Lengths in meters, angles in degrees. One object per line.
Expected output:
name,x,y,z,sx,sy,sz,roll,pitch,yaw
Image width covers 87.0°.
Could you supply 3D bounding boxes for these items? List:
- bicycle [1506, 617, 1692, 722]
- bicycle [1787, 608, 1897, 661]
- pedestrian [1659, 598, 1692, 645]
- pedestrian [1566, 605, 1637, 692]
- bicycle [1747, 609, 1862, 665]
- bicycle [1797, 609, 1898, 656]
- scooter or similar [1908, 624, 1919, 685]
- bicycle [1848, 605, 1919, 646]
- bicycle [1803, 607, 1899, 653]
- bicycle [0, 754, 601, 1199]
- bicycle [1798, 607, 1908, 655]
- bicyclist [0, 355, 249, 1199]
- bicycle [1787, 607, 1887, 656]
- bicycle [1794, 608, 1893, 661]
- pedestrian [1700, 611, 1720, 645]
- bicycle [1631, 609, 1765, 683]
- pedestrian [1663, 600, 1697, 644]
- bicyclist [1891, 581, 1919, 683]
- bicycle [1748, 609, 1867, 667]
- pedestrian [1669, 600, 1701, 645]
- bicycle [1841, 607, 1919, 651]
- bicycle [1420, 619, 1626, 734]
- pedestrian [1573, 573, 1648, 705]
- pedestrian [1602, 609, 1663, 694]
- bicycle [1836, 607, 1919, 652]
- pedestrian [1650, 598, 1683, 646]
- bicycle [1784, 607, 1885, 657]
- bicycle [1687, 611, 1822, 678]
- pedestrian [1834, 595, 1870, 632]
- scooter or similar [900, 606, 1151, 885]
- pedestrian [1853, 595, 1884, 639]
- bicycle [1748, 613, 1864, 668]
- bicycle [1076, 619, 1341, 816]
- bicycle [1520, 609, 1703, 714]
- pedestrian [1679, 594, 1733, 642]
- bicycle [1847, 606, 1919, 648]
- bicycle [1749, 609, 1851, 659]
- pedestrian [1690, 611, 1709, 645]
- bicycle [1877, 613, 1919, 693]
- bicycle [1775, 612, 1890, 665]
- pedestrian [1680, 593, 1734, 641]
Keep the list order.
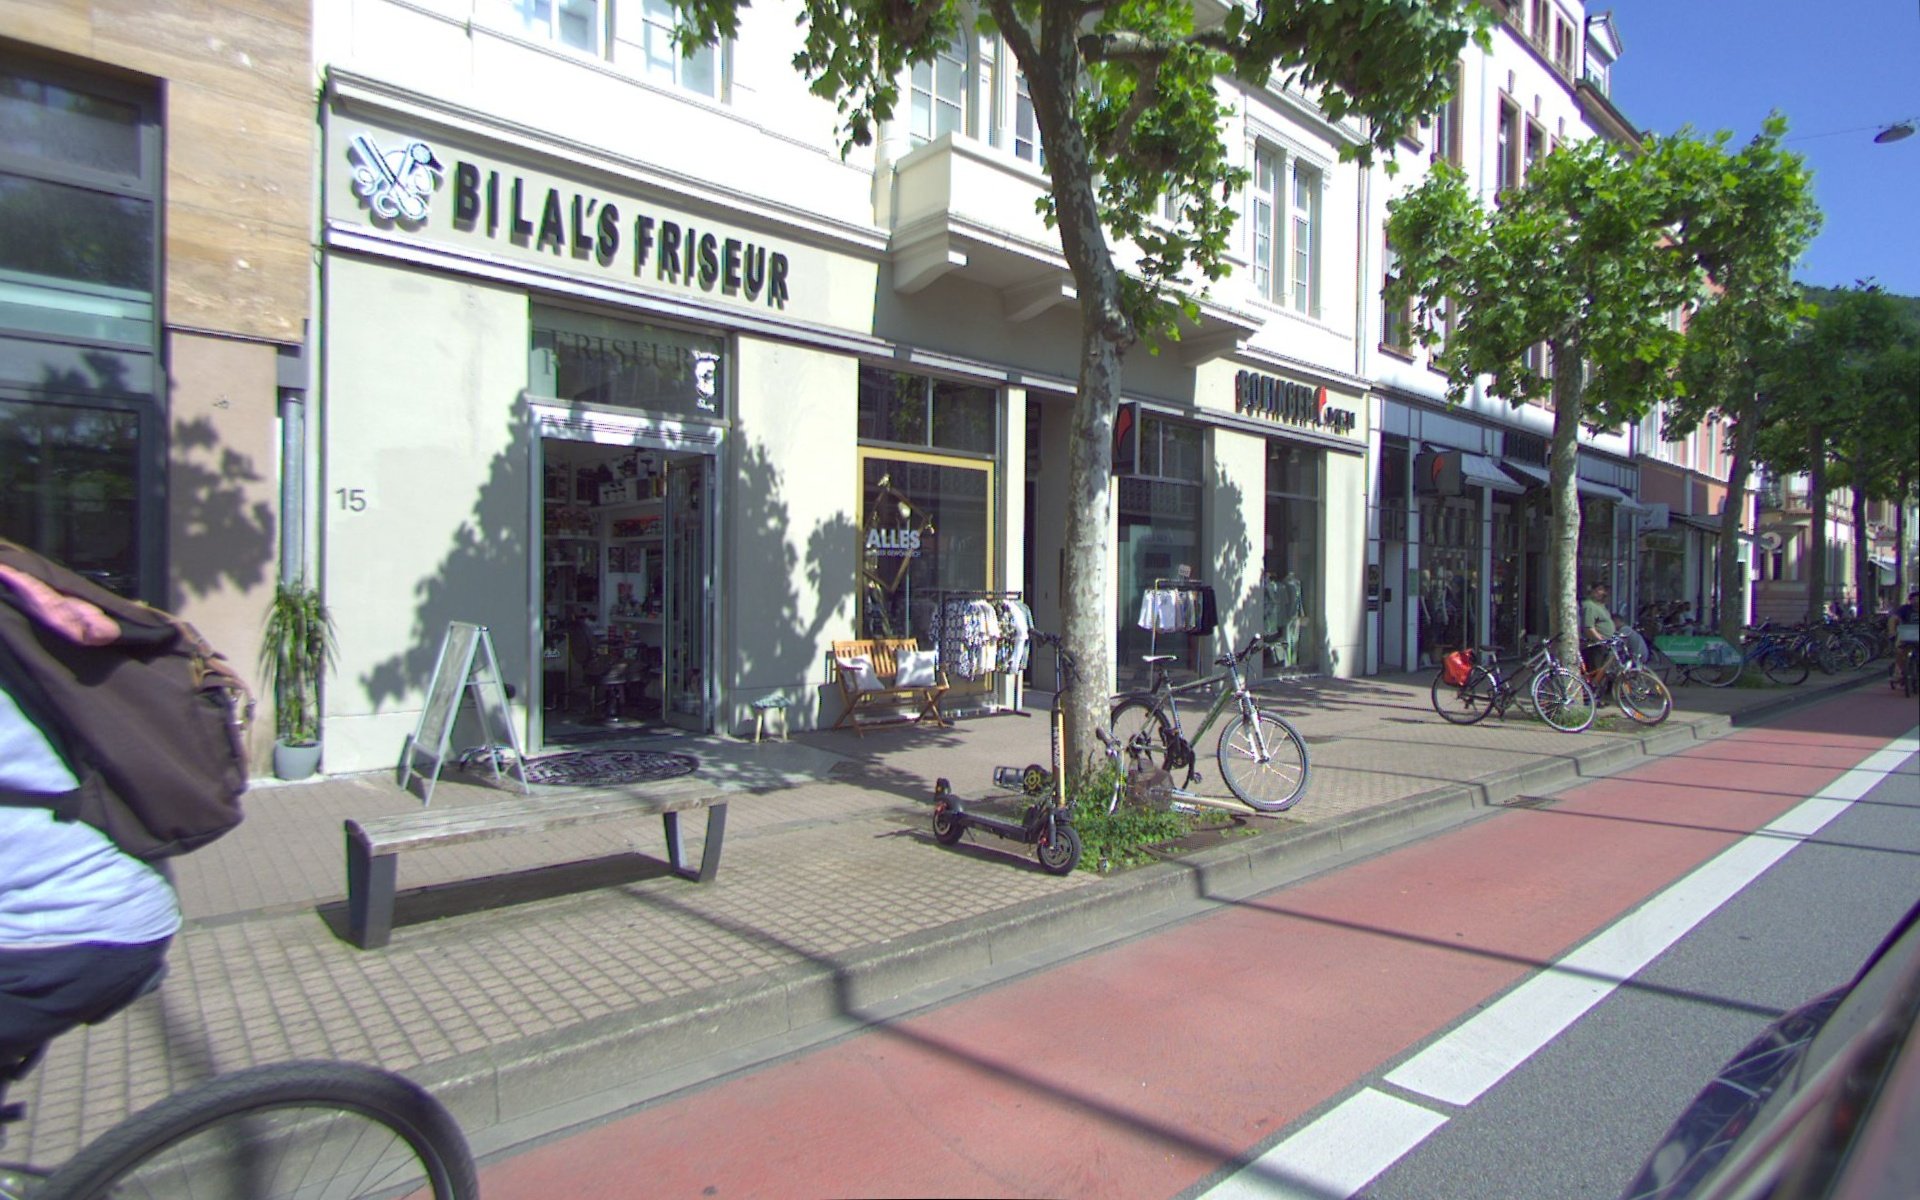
bicycle,7.565,0.777,12.074,0.487,1.141,1.848,0,-1,-29
bicycle,20.183,0.779,23.191,1.818,1.141,0.591,0,1,14
pedestrian,20.746,0.613,29.333,0.523,1.355,0.682,1,0,-43
pedestrian,9.700,0.711,15.307,0.566,1.258,0.788,-1,0,-43
bicycle,18.256,0.797,21.932,1.835,1.141,0.755,-2,0,37
bicycle,22.596,0.805,25.803,0.519,1.141,1.848,-1,-1,-28
scooter or similar,17.658,0.977,18.063,1.103,1.074,0.786,0,-1,-30
bicycle,27.937,0.754,30.380,0.654,1.141,1.844,-1,1,-38
bicycle,23.747,0.782,27.002,0.667,1.141,1.845,-1,1,-37
bicycle,-1.556,0.899,1.184,2.047,1.141,0.699,0,-1,-44
bicycle,23.132,0.779,26.255,0.746,1.141,1.995,-1,1,-28
bicyclist,-1.504,0.455,1.241,0.945,1.464,0.699,0,-1,-44
bicycle,21.940,0.768,25.362,0.440,1.141,1.845,-1,2,-37
bicycle,20.868,0.786,23.948,0.439,1.141,1.850,0,1,-13
pedestrian,21.885,0.819,29.537,0.429,0.980,0.365,1,0,-39
bicycle,12.637,0.774,17.381,1.760,1.212,0.573,0,0,23
pedestrian,21.130,0.638,29.707,0.523,1.269,0.682,1,1,-43
bicyclist,16.351,0.535,17.082,0.759,1.694,0.734,0,1,-32
bicycle,17.493,0.784,20.945,1.836,1.141,0.623,-2,-1,39
pedestrian,21.563,0.657,30.105,0.598,1.268,0.640,-1,3,-43
bicycle,25.659,0.791,28.003,0.654,1.141,1.844,-1,1,-38
bicycle,6.177,0.790,11.199,0.779,1.111,1.846,0,0,-35
pedestrian,8.757,0.519,13.626,0.829,1.711,0.639,2,-2,-43
pedestrian,10.326,0.773,15.538,0.587,1.248,0.639,-1,0,-43
bicycle,25.125,0.795,27.580,0.520,1.141,1.844,-1,2,-38
pedestrian,20.253,0.621,29.007,0.523,1.349,0.682,1,0,-43
bicycle,21.612,0.770,25.050,0.440,1.141,1.845,-1,2,-37
bicycle,14.175,0.792,18.090,1.838,1.141,0.490,-2,-3,42
pedestrian,41.093,0.621,46.658,0.892,1.631,0.970,1,4,21
scooter or similar,0.295,0.688,5.532,0.656,1.291,1.481,0,-1,-29
pedestrian,35.354,0.667,39.392,0.773,1.679,0.642,3,-2,-27
bicycle,17.797,0.844,21.344,1.837,1.107,0.556,-1,-1,40
bicycle,1.692,0.745,7.209,0.657,1.201,1.845,0,-1,-35
bicycle,8.247,0.731,12.891,0.660,1.212,1.846,0,0,-33
pedestrian,23.200,0.548,31.487,0.777,1.440,1.234,-1,2,-43
bicycle,26.965,0.773,29.288,0.632,1.141,1.844,-1,1,-38
bicycle,19.741,0.794,23.799,1.818,1.141,0.446,0,1,13
pedestrian,21.327,0.805,29.184,0.429,0.980,0.342,1,0,-39
bicycle,16.370,0.885,17.077,2.237,1.285,0.735,1,-2,-32
bicycle,19.197,0.824,22.295,0.554,1.107,1.843,0,-1,-40
pedestrian,23.736,0.523,32.166,0.823,1.502,1.253,0,0,-43
